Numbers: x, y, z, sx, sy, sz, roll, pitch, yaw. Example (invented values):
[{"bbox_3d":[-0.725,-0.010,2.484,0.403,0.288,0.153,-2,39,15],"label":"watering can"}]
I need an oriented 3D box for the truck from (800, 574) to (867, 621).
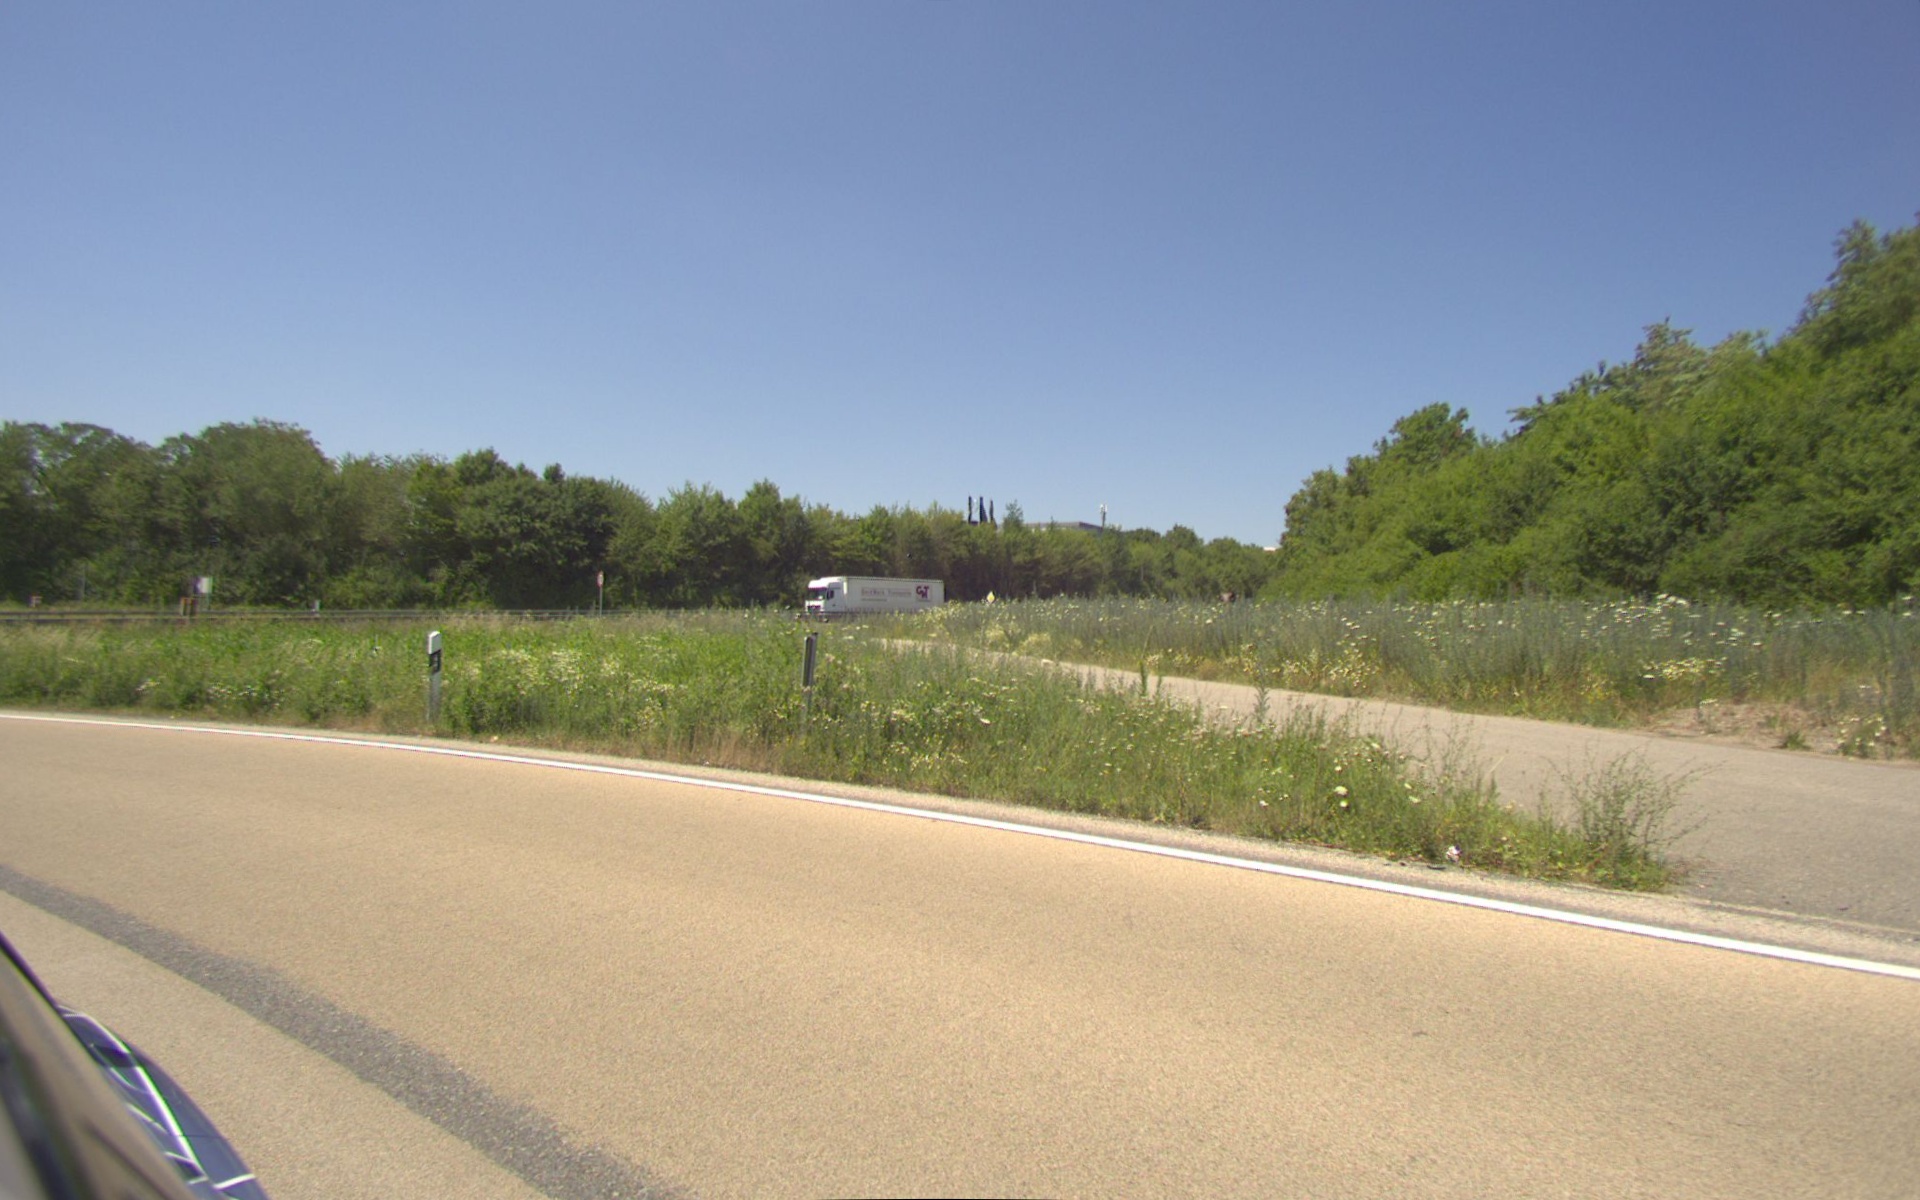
[{"bbox_3d":[-11.003,-0.134,88.413,2.917,3.969,5.350,-1,-1,37],"label":"truck"}]

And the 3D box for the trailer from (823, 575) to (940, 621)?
[{"bbox_3d":[-7.018,-0.077,93.701,2.916,3.969,13.109,-1,-1,37],"label":"trailer"}]
